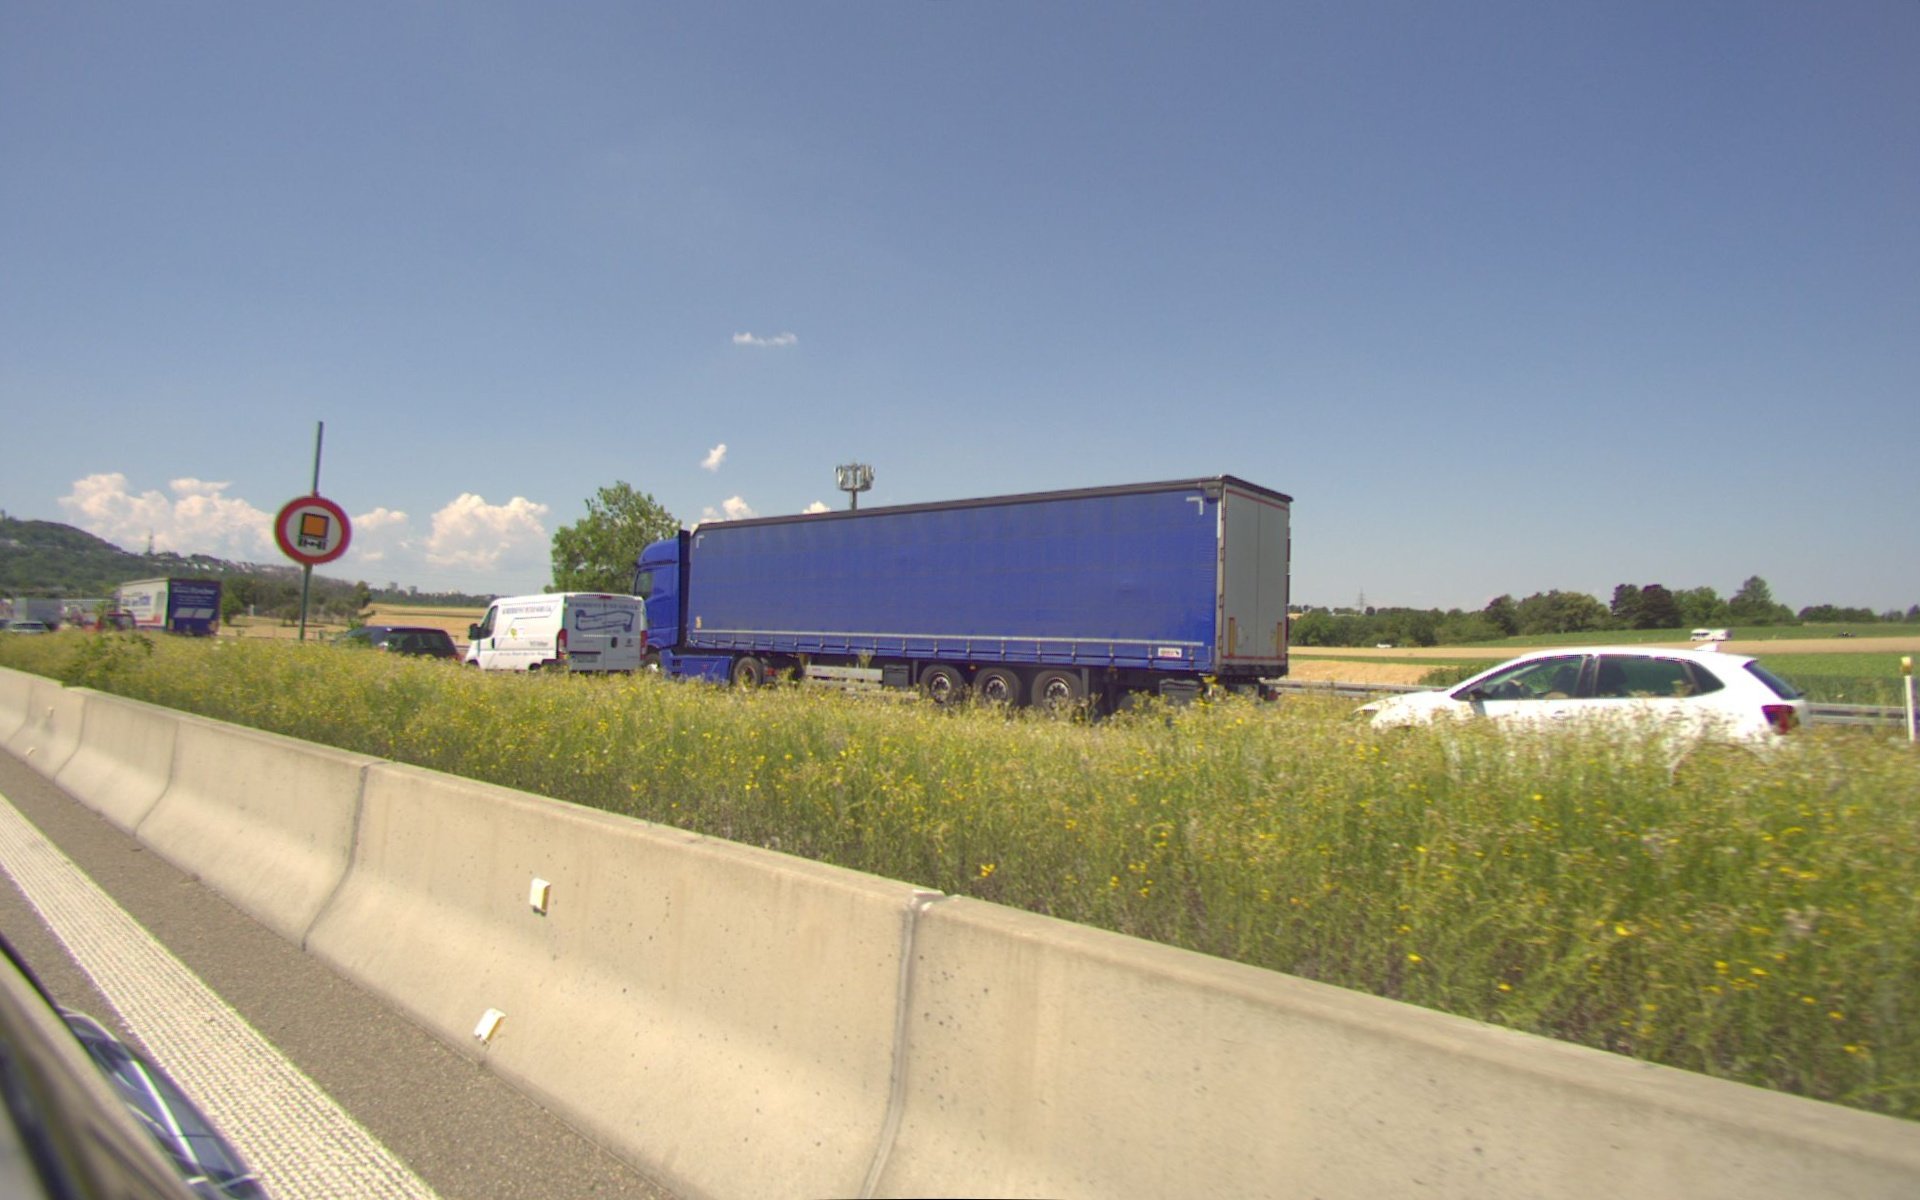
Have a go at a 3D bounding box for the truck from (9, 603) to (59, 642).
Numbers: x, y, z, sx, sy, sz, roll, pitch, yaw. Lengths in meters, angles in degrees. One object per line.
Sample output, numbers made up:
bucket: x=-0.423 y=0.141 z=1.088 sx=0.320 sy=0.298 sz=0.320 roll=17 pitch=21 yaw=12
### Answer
truck: x=-91.310 y=2.200 z=99.732 sx=8.785 sy=3.648 sz=2.670 roll=-1 pitch=-4 yaw=42

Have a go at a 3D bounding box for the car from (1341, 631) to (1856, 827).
car: x=5.820 y=1.036 z=9.547 sx=3.862 sy=1.475 sz=1.600 roll=-1 pitch=-2 yaw=40

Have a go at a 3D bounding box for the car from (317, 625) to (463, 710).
car: x=-10.789 y=1.218 z=19.101 sx=3.193 sy=1.480 sz=1.371 roll=-1 pitch=-2 yaw=40

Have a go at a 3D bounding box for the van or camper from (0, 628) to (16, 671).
van or camper: x=-61.919 y=3.104 z=64.412 sx=4.395 sy=2.649 sz=2.126 roll=-1 pitch=-2 yaw=41

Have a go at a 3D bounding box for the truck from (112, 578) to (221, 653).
truck: x=-50.153 y=1.005 z=63.718 sx=14.115 sy=4.271 sz=2.565 roll=-1 pitch=-4 yaw=41

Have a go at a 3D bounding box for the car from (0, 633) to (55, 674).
car: x=-47.698 y=2.658 z=51.396 sx=4.792 sy=1.961 sz=1.973 roll=-1 pitch=-2 yaw=41

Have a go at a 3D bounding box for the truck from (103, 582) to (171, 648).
truck: x=-56.006 y=1.076 z=68.843 sx=4.852 sy=4.271 sz=2.565 roll=-1 pitch=-4 yaw=41

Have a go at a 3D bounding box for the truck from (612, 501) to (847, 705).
truck: x=-5.710 y=0.139 z=24.716 sx=5.583 sy=4.383 sz=2.835 roll=-1 pitch=-3 yaw=41

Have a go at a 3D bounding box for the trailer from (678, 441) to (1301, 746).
trailer: x=-0.442 y=0.045 z=20.098 sx=13.634 sy=4.383 sz=2.853 roll=-1 pitch=-3 yaw=41

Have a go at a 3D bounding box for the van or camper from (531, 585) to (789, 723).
van or camper: x=-5.858 y=0.964 z=19.345 sx=5.490 sy=2.291 sz=2.072 roll=-1 pitch=-2 yaw=40

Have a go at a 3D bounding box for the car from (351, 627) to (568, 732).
car: x=-8.674 y=1.259 z=17.358 sx=4.559 sy=1.578 sz=1.667 roll=-1 pitch=-3 yaw=41
